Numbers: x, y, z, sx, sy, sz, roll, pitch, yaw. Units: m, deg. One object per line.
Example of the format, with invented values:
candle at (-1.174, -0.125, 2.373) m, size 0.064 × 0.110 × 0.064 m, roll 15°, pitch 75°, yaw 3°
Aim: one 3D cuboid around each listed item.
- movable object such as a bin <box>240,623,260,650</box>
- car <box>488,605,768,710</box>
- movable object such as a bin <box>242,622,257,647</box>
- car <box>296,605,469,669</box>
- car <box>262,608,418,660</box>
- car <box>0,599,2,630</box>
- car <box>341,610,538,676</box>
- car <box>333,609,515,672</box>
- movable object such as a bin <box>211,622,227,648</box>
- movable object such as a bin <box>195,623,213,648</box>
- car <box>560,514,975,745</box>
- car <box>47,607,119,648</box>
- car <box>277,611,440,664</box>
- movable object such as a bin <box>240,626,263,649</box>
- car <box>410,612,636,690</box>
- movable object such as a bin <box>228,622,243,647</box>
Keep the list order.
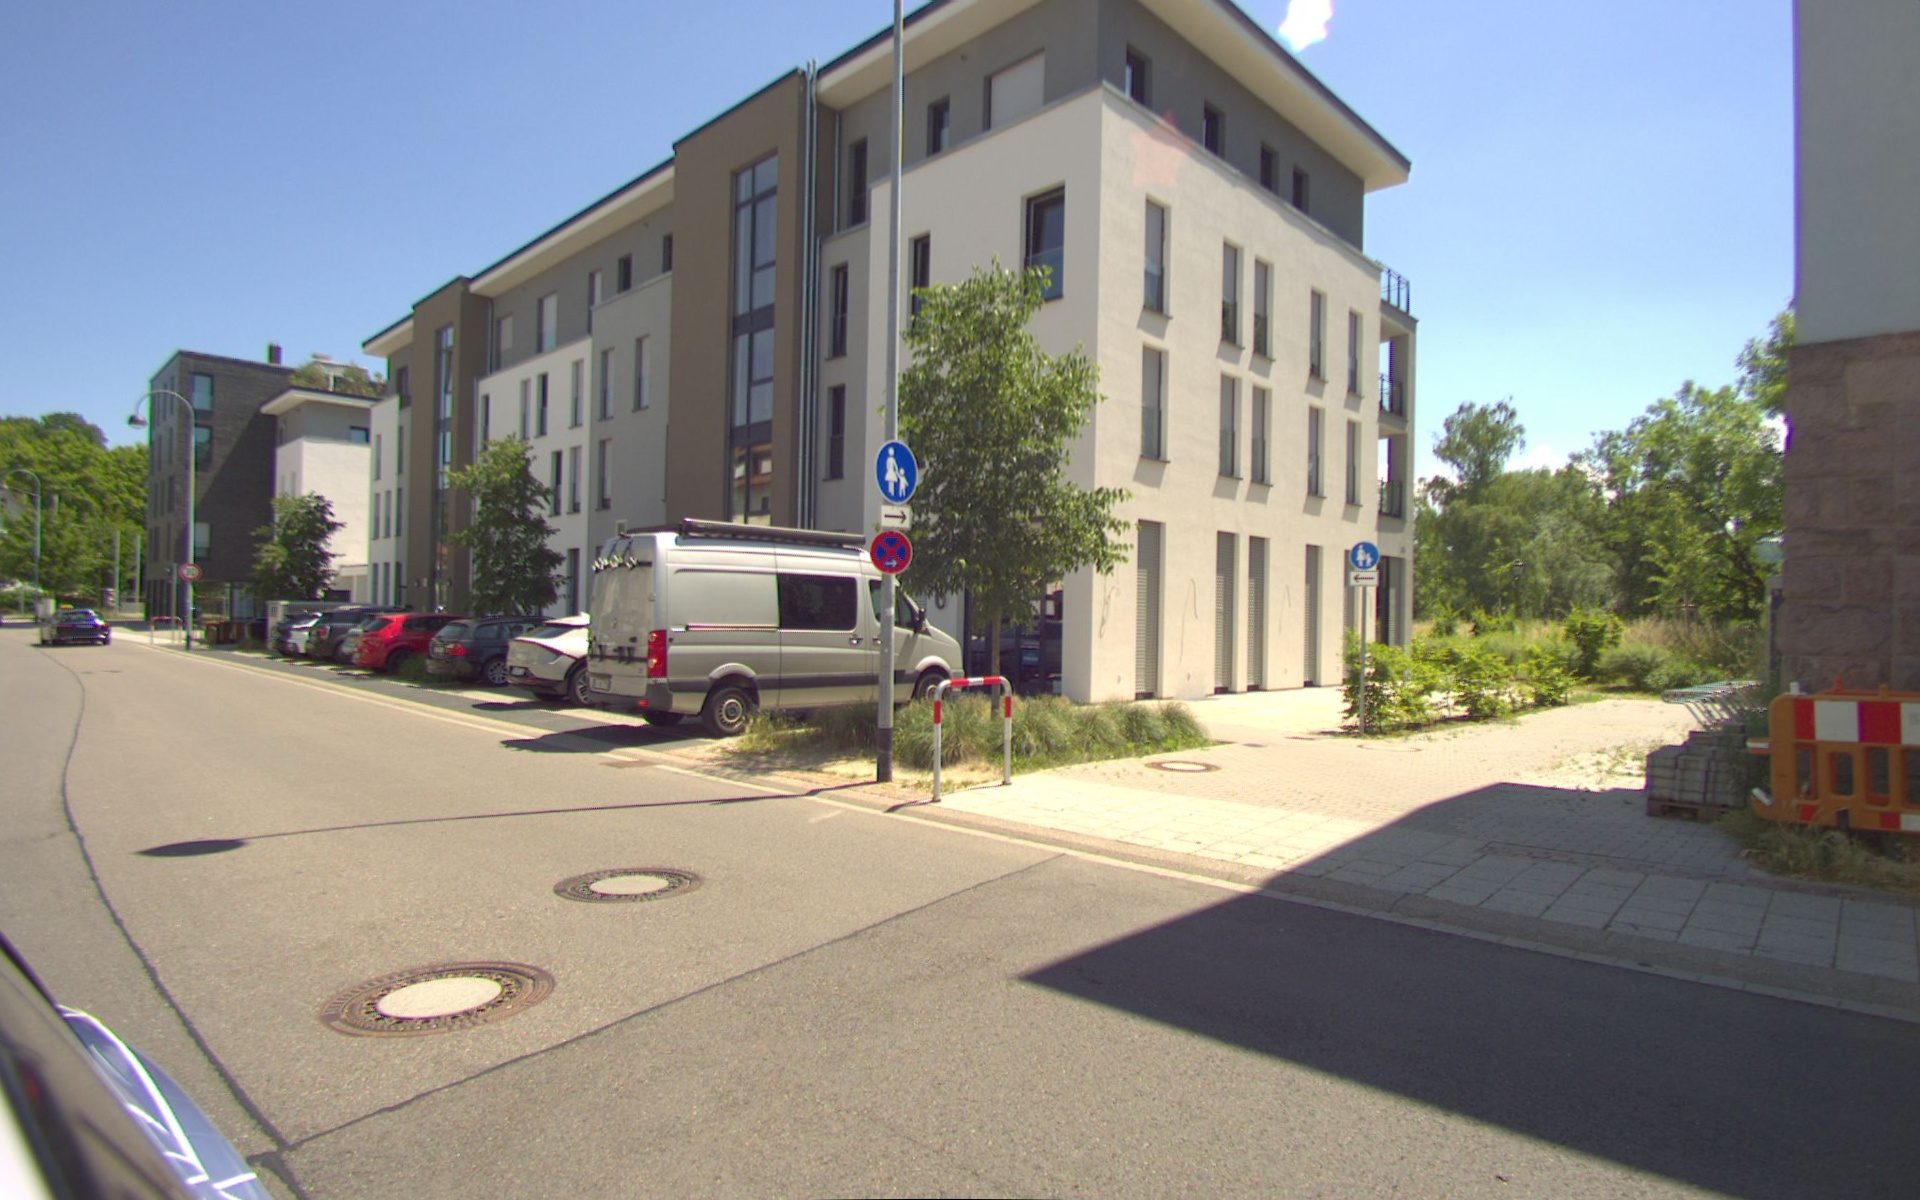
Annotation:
movable object such as a bin at (-27.264, 1.389, 38.869) m, size 0.547 × 1.005 × 0.427 m, roll 1°, pitch -1°, yaw -44°
car at (-5.880, 0.916, 18.283) m, size 2.001 × 1.603 × 4.403 m, roll 0°, pitch 0°, yaw 44°
movable object such as a bin at (-29.050, 1.414, 41.364) m, size 0.556 × 1.005 × 0.398 m, roll 0°, pitch -1°, yaw 43°
car at (-16.591, 0.998, 29.148) m, size 3.984 × 1.663 × 2.002 m, roll -1°, pitch 0°, yaw -43°
car at (-19.962, 1.040, 32.668) m, size 3.941 × 1.527 × 2.002 m, roll -1°, pitch 0°, yaw -44°
car at (-55.191, 0.765, 56.257) m, size 4.061 × 1.714 × 1.798 m, roll 1°, pitch 0°, yaw 31°
car at (-12.921, 1.010, 25.245) m, size 3.984 × 1.441 × 2.002 m, roll -1°, pitch 0°, yaw -43°
car at (-14.440, 1.031, 27.364) m, size 3.984 × 1.508 × 2.002 m, roll -1°, pitch 0°, yaw -43°
movable object such as a bin at (-29.718, 1.406, 40.575) m, size 0.556 × 1.005 × 0.398 m, roll 0°, pitch -1°, yaw 43°
movable object such as a bin at (-30.036, 1.406, 40.206) m, size 0.588 × 1.005 × 0.477 m, roll 0°, pitch -1°, yaw 43°
car at (-2.591, 0.328, 14.879) m, size 5.701 × 2.753 × 2.293 m, roll -1°, pitch 0°, yaw -45°
car at (-35.620, 1.089, 41.047) m, size 1.872 × 1.565 × 4.801 m, roll 0°, pitch -1°, yaw -45°
car at (-18.361, 1.088, 30.987) m, size 1.911 × 1.432 × 3.941 m, roll 0°, pitch 1°, yaw 45°
movable object such as a bin at (-26.914, 1.424, 38.419) m, size 0.479 × 0.874 × 0.551 m, roll 0°, pitch -1°, yaw 27°
car at (-9.442, 1.032, 22.121) m, size 1.885 × 1.448 × 4.157 m, roll 0°, pitch 0°, yaw 40°
movable object such as a bin at (-29.349, 1.384, 40.992) m, size 0.556 × 1.005 × 0.398 m, roll 0°, pitch -1°, yaw 43°
